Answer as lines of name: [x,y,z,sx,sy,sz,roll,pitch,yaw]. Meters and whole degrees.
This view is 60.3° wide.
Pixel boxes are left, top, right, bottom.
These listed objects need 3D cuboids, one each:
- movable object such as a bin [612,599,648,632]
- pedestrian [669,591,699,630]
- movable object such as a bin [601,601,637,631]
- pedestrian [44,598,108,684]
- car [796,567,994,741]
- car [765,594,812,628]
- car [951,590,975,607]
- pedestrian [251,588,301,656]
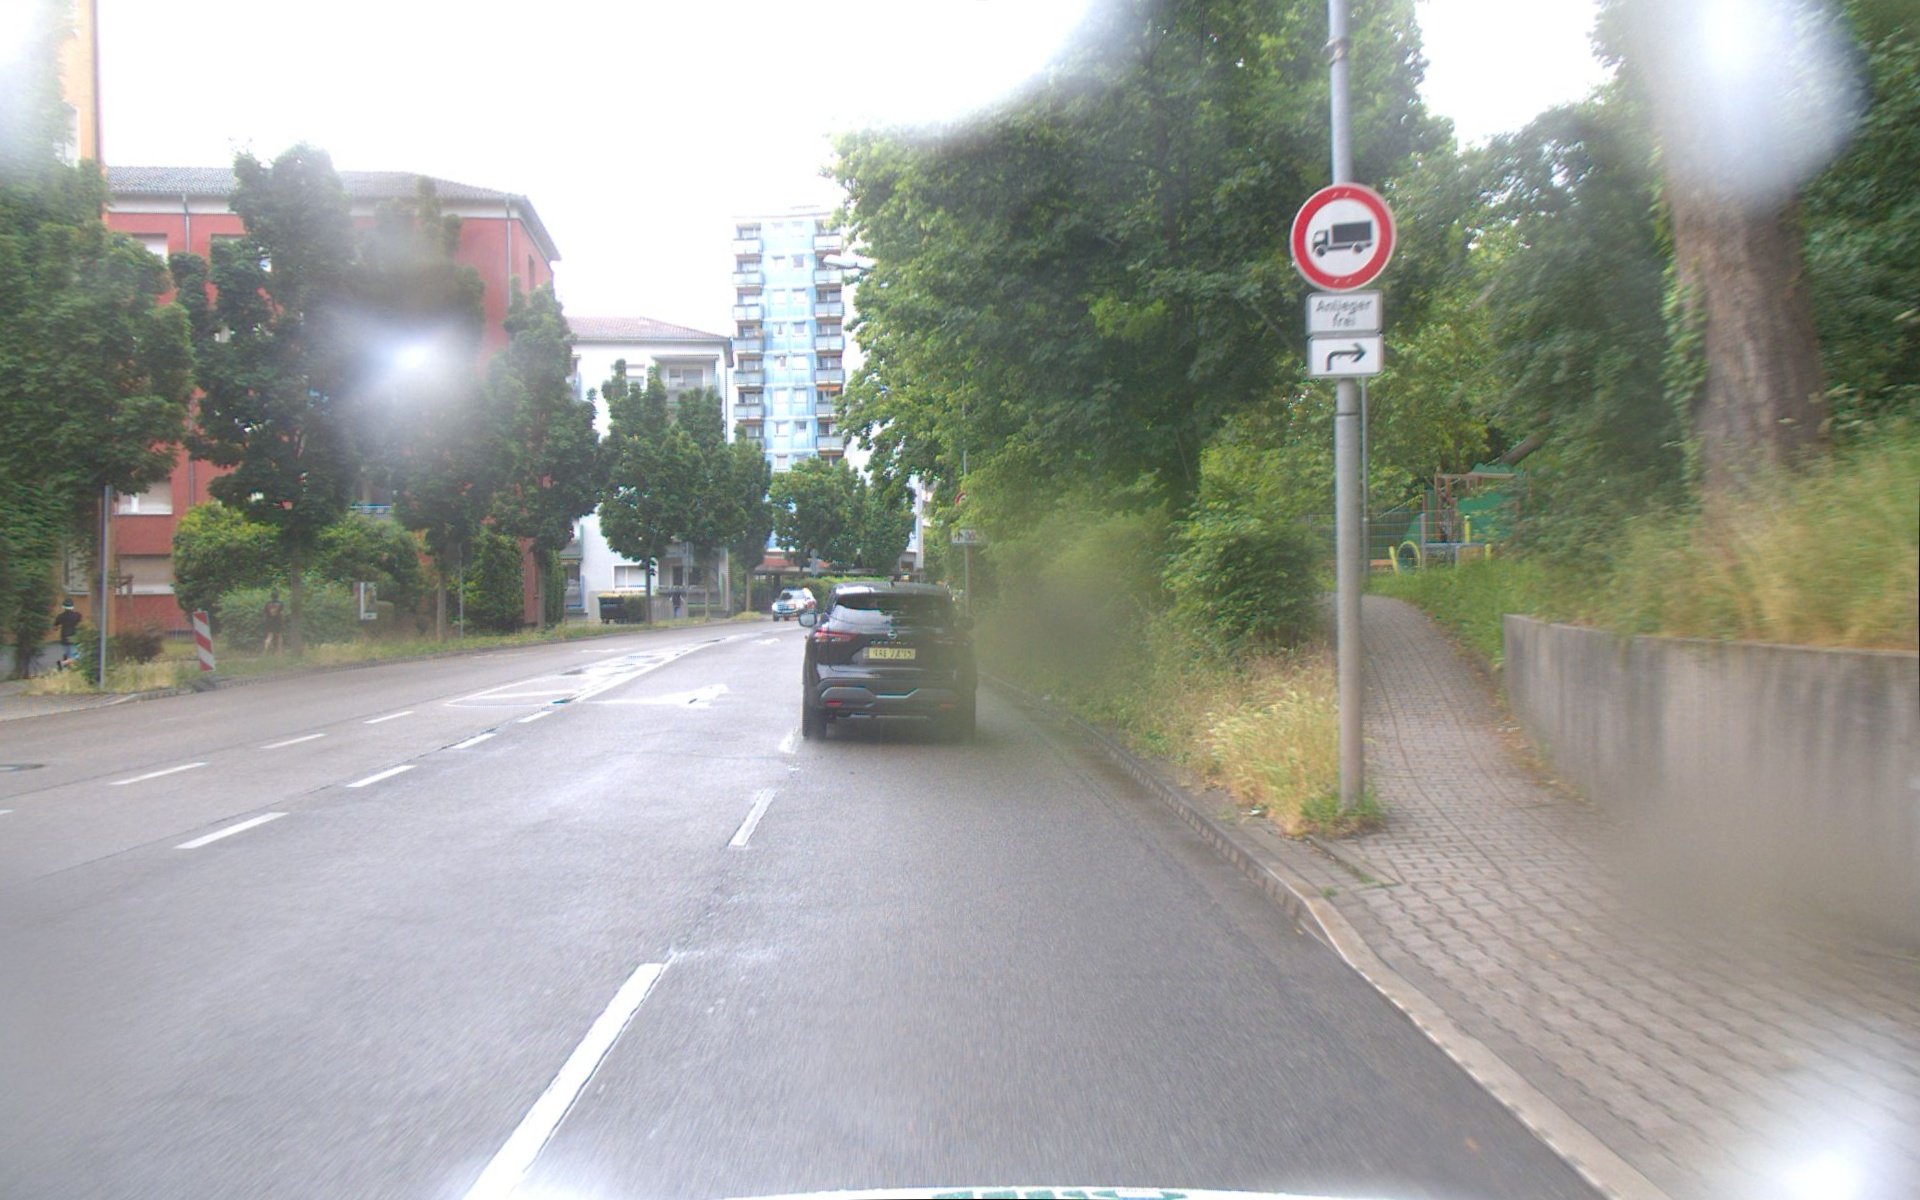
movable object such as a bin: [-15.733,0.708,78.993,1.190,1.510,2.088,-1,0,2]
pedestrian: [-13.415,0.509,80.525,1.110,1.835,1.264,-1,0,5]
movable object such as a bin: [-15.824,0.746,76.816,1.133,1.354,1.967,-1,0,2]
pedestrian: [-15.663,0.711,29.315,0.657,1.474,0.836,-2,0,-1]
car: [-0.722,0.526,18.261,1.920,1.681,3.998,1,0,-3]
car: [-9.272,0.579,89.779,1.883,1.659,4.502,-3,0,1]
car: [0.262,-0.137,141.392,1.803,1.409,4.362,-3,0,3]
pedestrian: [-15.749,0.497,38.097,0.678,1.544,1.069,-2,0,-1]
